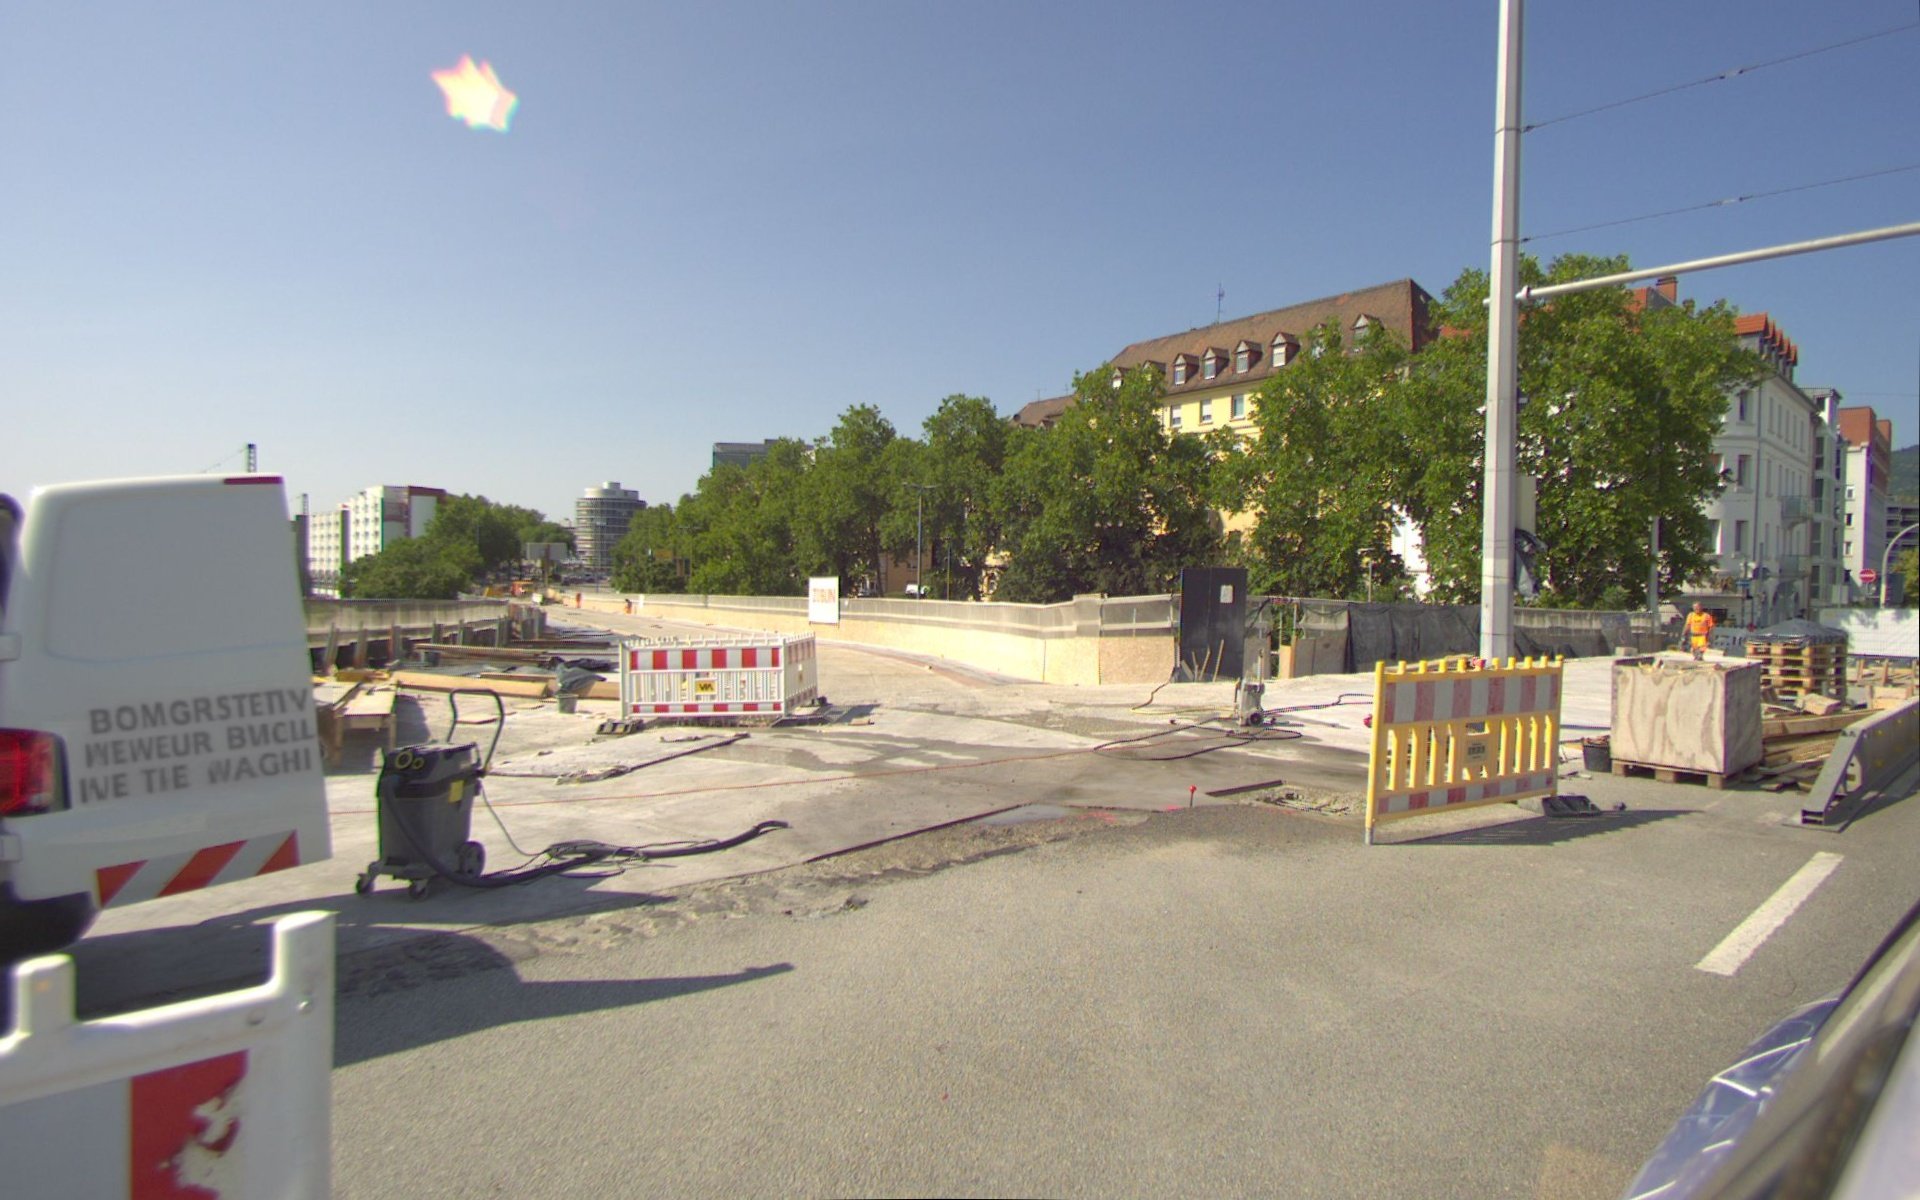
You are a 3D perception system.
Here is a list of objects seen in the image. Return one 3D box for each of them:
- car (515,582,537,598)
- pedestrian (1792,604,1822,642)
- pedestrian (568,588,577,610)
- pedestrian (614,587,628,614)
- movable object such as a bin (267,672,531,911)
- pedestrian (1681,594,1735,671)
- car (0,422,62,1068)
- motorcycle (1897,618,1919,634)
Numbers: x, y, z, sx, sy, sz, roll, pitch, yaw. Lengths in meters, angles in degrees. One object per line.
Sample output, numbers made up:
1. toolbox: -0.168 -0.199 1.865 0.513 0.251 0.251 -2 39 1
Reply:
1. car: -60.613 -1.414 141.327 1.898 1.953 4.224 2 2 -35
2. pedestrian: 39.440 1.066 47.121 1.000 1.728 0.810 1 1 42
3. pedestrian: -38.348 -0.104 100.106 0.750 2.038 0.930 2 1 -24
4. pedestrian: -26.511 0.035 79.096 0.909 2.038 0.768 2 1 -22
5. movable object such as a bin: -2.995 0.981 5.504 0.876 1.087 0.941 1 0 6
6. pedestrian: 18.423 0.776 24.928 0.849 1.817 0.821 1 2 -42
7. car: -5.453 0.458 2.456 4.804 2.059 1.883 0 0 -40
8. motorcycle: 75.773 2.101 80.128 0.730 1.180 2.177 1 1 -40
